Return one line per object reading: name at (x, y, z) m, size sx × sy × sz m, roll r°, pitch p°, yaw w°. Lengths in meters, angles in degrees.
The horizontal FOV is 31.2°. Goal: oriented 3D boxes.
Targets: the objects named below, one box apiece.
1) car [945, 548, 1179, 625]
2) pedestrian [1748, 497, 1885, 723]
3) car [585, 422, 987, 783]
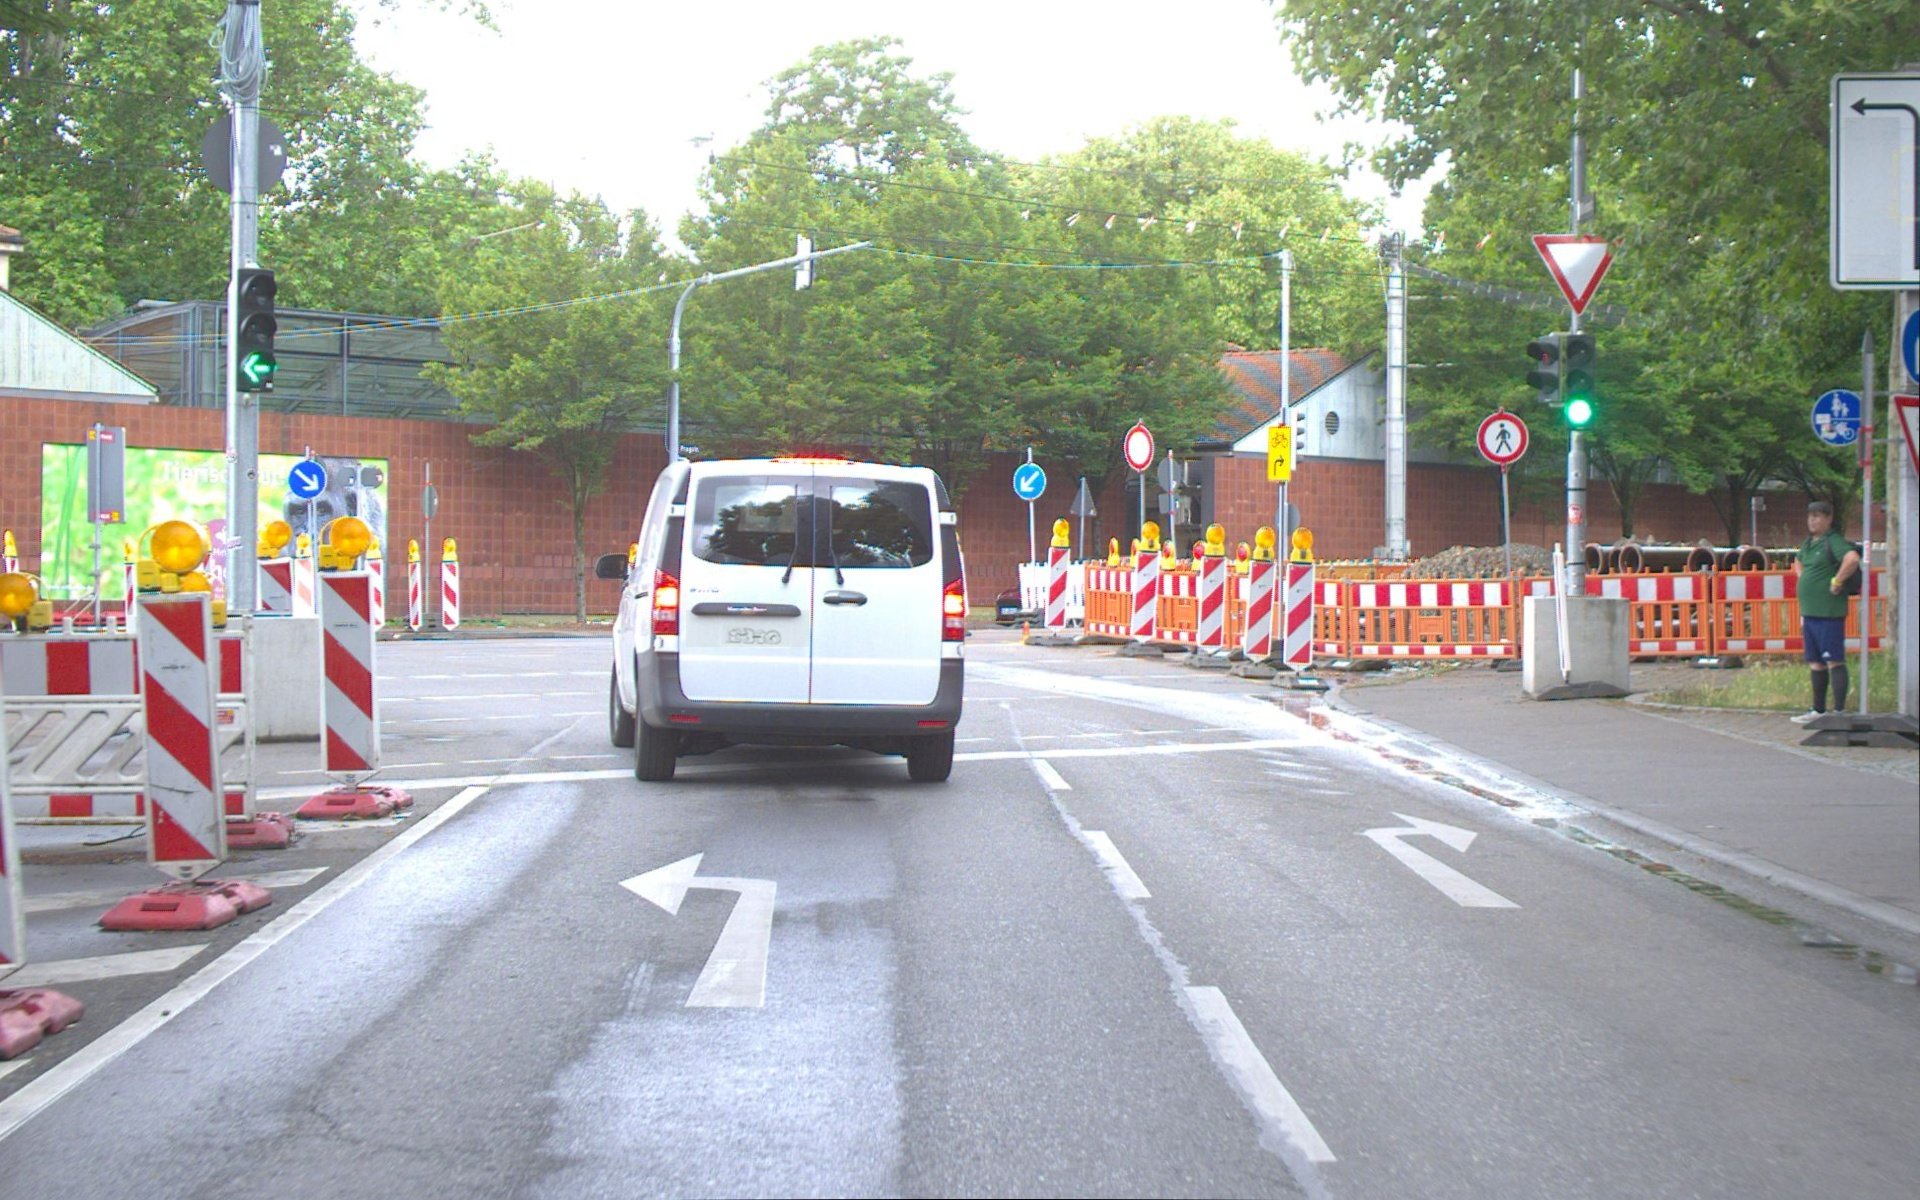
car at (2.046, -0.242, 68.100) m, size 4.445 × 1.438 × 1.879 m, roll 1°, pitch -2°, yaw -38°
pedestrian at (6.552, 0.061, 26.338) m, size 0.730 × 1.691 × 0.838 m, roll -1°, pitch 1°, yaw -9°
car at (-1.214, 0.062, 21.499) m, size 1.917 × 1.895 × 4.702 m, roll 4°, pitch -2°, yaw -9°
